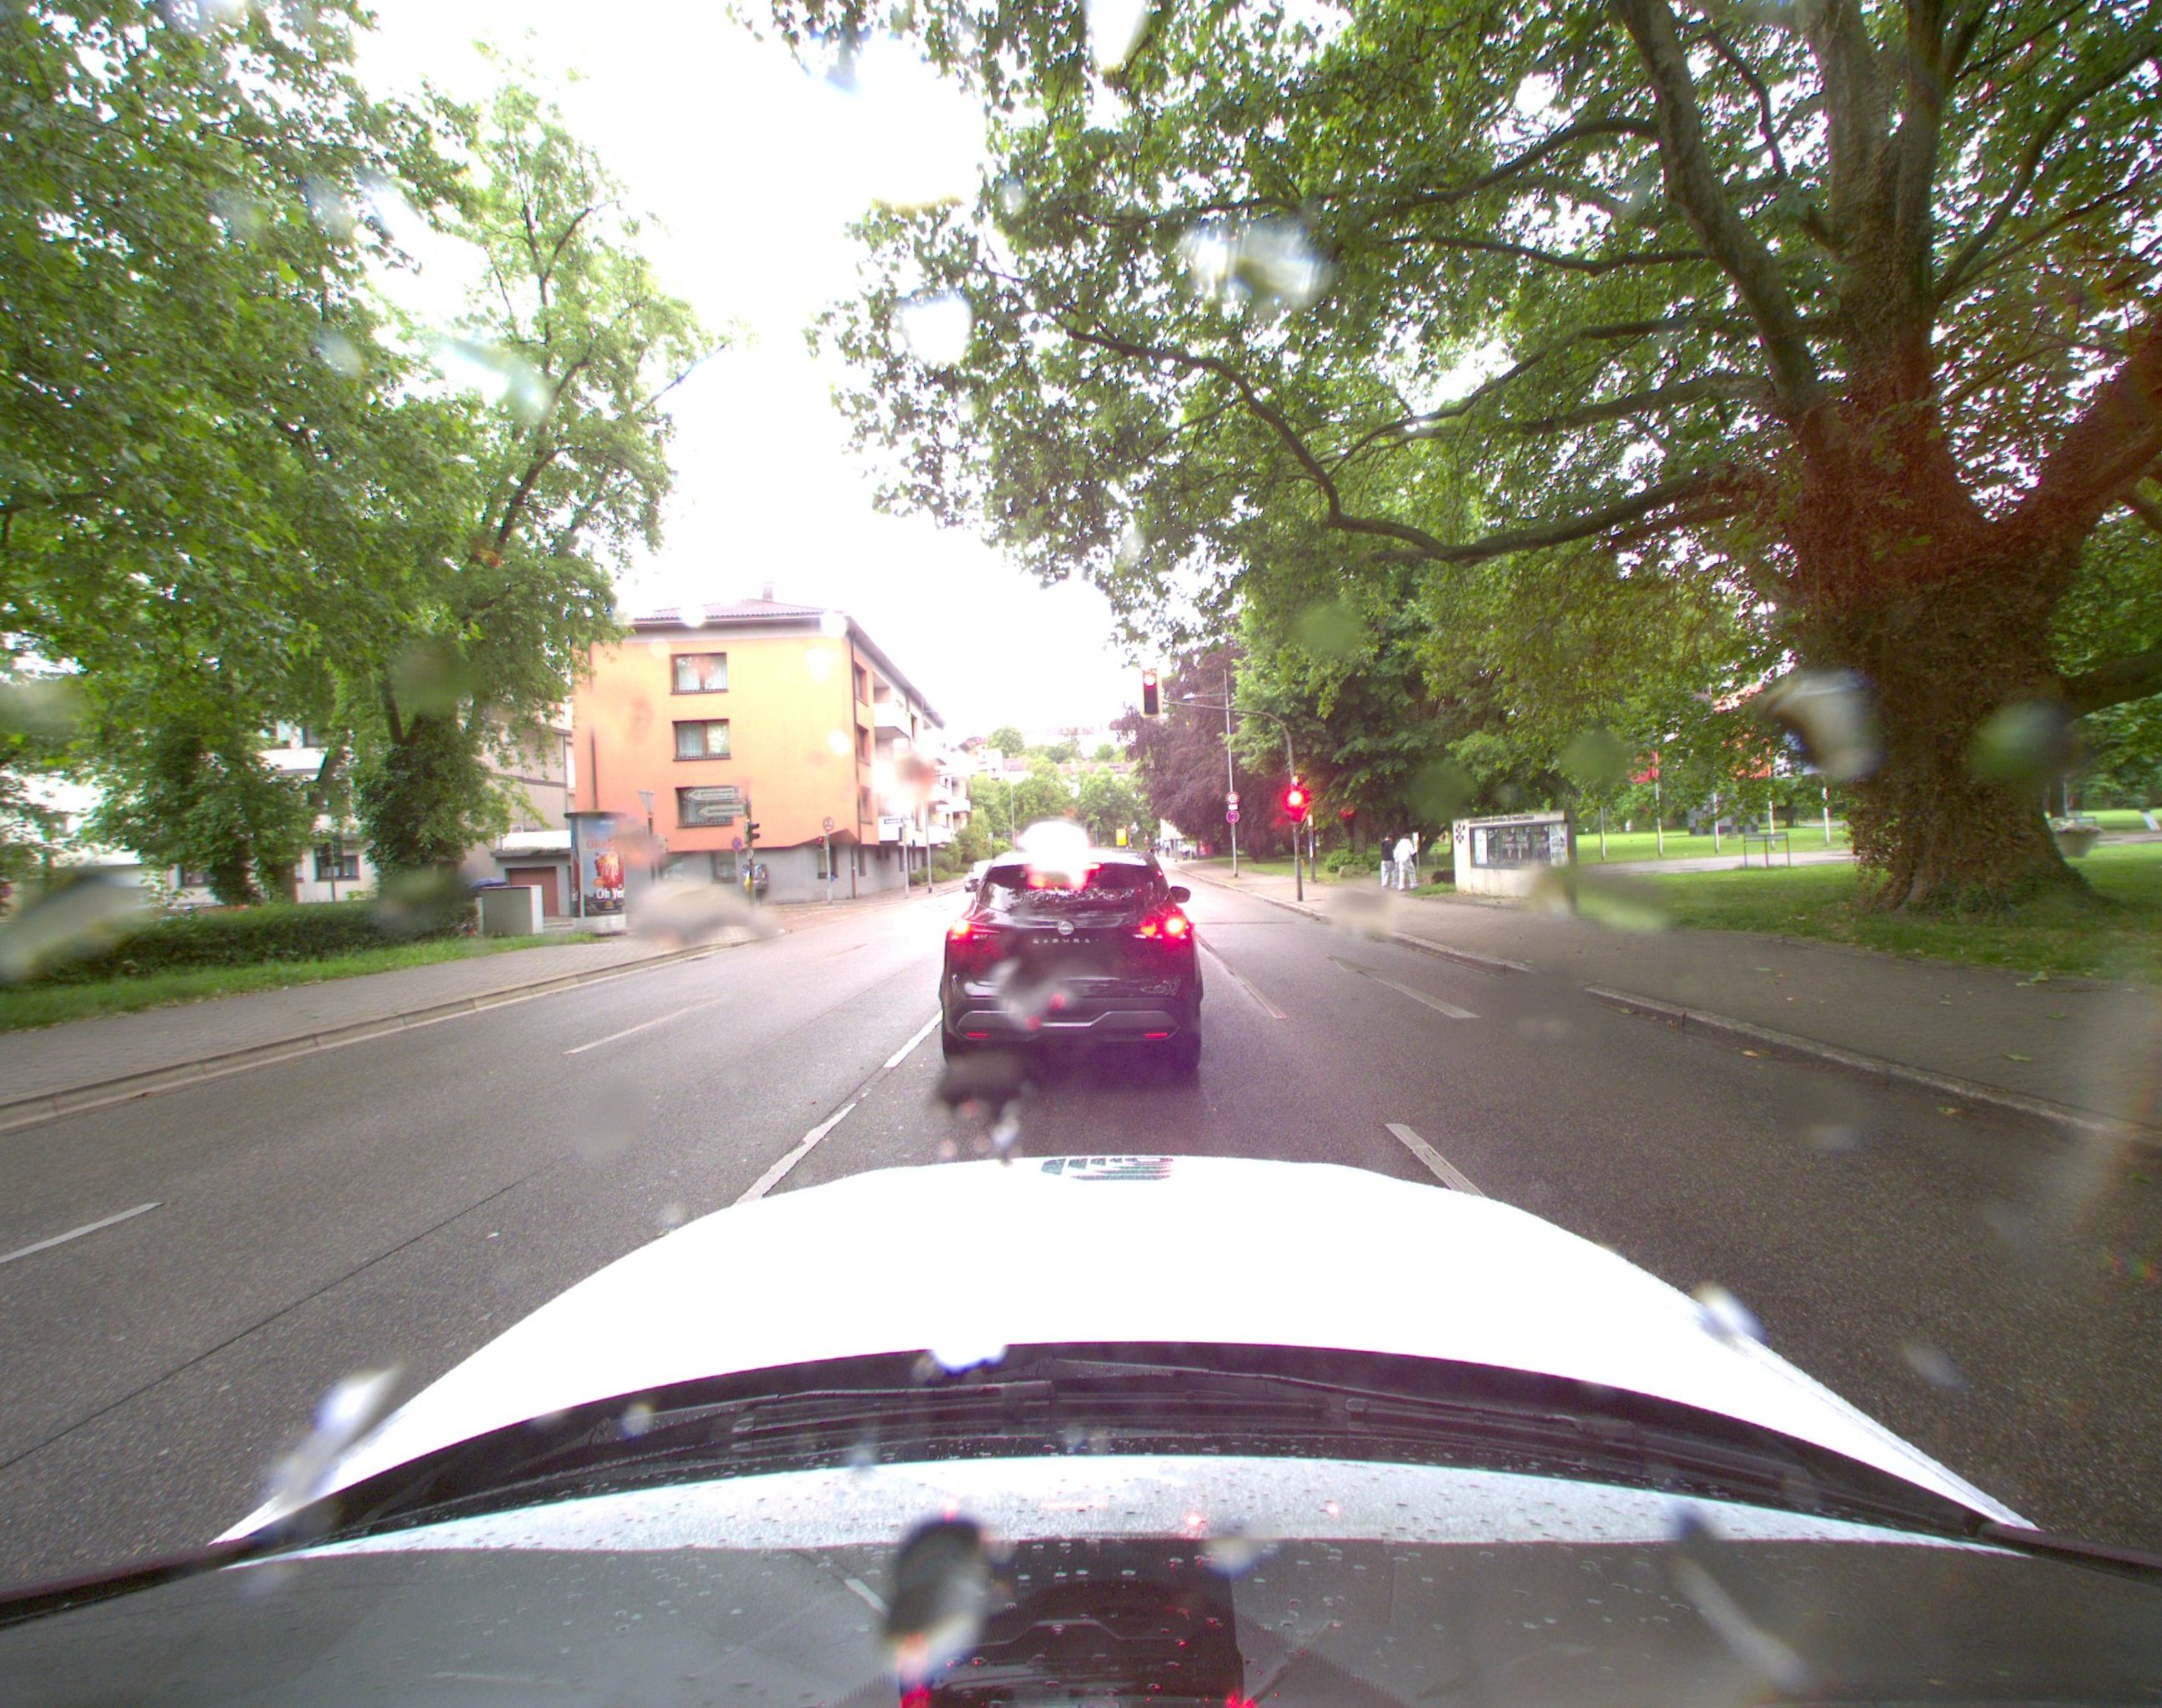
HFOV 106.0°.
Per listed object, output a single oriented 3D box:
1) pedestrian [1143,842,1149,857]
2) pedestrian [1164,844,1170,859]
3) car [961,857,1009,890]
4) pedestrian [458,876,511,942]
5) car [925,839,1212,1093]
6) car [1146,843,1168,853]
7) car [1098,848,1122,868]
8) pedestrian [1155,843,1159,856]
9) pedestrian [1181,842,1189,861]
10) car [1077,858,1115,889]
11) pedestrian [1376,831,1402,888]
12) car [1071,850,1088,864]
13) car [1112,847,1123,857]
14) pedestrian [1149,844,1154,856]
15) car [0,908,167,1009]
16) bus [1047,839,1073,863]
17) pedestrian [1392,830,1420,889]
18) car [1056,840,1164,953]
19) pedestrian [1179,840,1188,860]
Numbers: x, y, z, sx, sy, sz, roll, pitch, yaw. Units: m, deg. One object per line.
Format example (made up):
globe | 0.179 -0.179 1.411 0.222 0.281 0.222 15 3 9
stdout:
pedestrian | 9.798 -0.681 122.800 0.764 2.183 0.712 0 -1 5
pedestrian | 10.622 -0.271 100.181 0.616 1.779 0.551 -3 0 1
car | -4.787 0.966 41.201 1.802 1.417 4.031 -4 0 1
pedestrian | -16.542 1.500 22.622 0.997 1.742 1.199 0 0 -27
car | -0.016 0.722 7.130 1.799 1.590 4.001 0 -1 2
car | 15.208 -1.245 163.266 3.986 1.684 1.994 -3 0 -9
car | 2.197 0.278 61.183 1.618 1.415 3.456 -3 0 2
pedestrian | 10.364 -0.612 110.599 0.513 1.655 0.550 0 -1 1
pedestrian | 10.147 -0.246 79.428 0.616 1.779 0.779 -3 0 1
car | 0.758 0.941 41.196 1.802 1.417 4.031 -2 0 1
pedestrian | 9.652 0.170 25.513 0.484 1.721 0.559 -3 0 -5
car | -0.108 0.338 88.641 1.618 1.415 3.456 -3 0 2
car | 6.177 -0.370 136.702 1.743 1.633 3.636 -3 0 2
pedestrian | 9.670 -0.531 111.704 0.542 1.651 0.490 0 -1 2
car | -18.002 1.740 13.823 3.182 1.524 1.507 0 -1 -1
bus | -2.817 -0.345 111.213 2.756 2.974 11.786 -3 0 2
pedestrian | 9.737 0.160 24.407 0.502 1.721 0.559 -3 0 -5
car | 0.569 0.672 14.792 1.615 1.709 3.774 -3 0 3
pedestrian | 10.552 -0.421 83.734 0.672 2.013 0.777 -3 0 1
